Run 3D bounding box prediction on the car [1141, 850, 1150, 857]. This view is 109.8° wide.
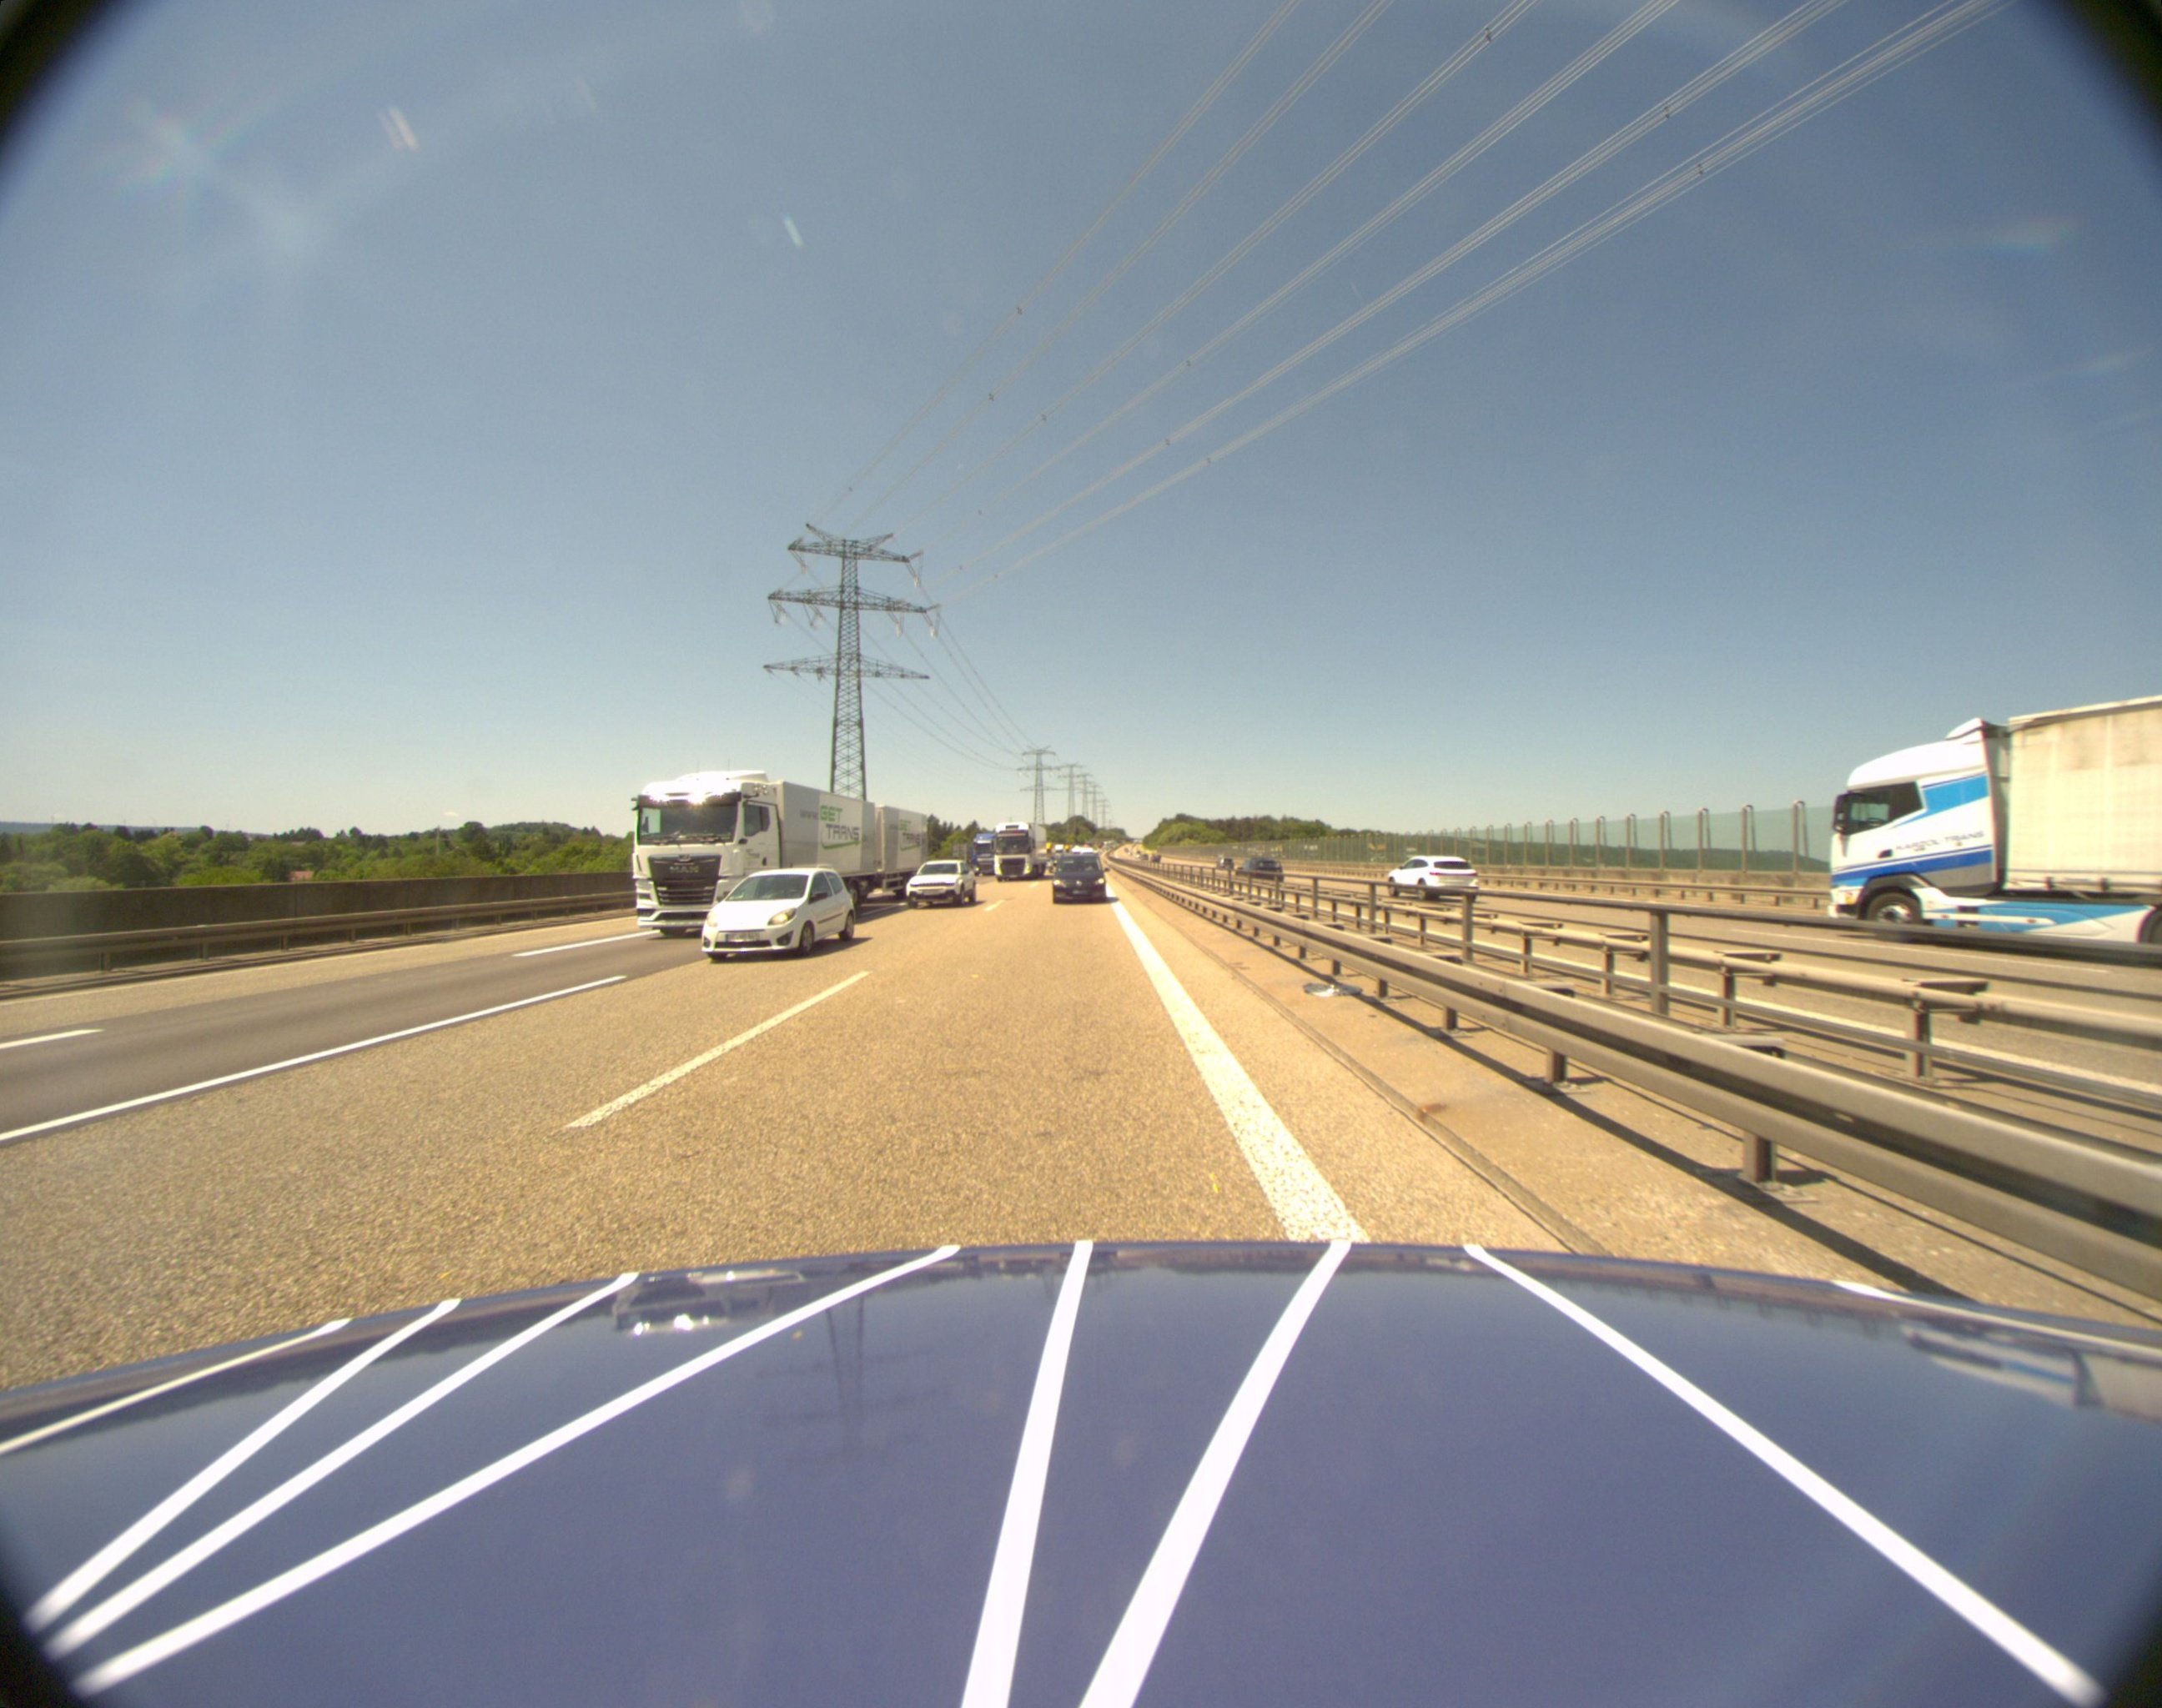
[{"bbox_3d":[15.703,-0.223,186.062,1.786,1.692,4.154,0,1,0],"label":"car"}]

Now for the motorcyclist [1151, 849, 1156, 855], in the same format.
[{"bbox_3d":[21.404,-0.592,223.283,1.379,1.675,1.133,-2,1,-1],"label":"motorcyclist"}]

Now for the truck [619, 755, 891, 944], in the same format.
[{"bbox_3d":[-8.324,-0.111,21.773,2.695,3.907,11.296,-2,0,0],"label":"truck"}]

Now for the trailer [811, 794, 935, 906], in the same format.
[{"bbox_3d":[-8.262,-0.167,31.313,2.752,3.918,7.773,-2,0,0],"label":"trailer"}]

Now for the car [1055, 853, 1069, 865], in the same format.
[{"bbox_3d":[-2.665,0.729,109.679,1.821,1.569,3.999,-2,1,0],"label":"car"}]

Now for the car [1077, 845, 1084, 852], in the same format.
[{"bbox_3d":[-0.171,-1.686,220.784,1.998,2.002,3.999,-2,1,0],"label":"car"}]

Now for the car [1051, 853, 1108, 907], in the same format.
[{"bbox_3d":[-0.001,0.805,25.852,1.748,1.569,4.000,-2,1,1],"label":"car"}]

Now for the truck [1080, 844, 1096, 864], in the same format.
[{"bbox_3d":[1.096,-0.066,114.790,2.309,2.789,5.109,-2,1,1],"label":"truck"}]

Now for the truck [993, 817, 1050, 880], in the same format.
[{"bbox_3d":[-4.192,-0.370,56.852,2.717,4.015,14.256,-2,0,1],"label":"truck"}]

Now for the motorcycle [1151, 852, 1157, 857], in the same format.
[{"bbox_3d":[21.471,0.082,223.337,1.490,1.468,3.382,-2,1,-1],"label":"motorcycle"}]

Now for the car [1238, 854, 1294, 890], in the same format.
[{"bbox_3d":[9.072,0.850,37.519,1.796,1.563,3.999,-2,1,1],"label":"car"}]

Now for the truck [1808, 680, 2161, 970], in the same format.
[{"bbox_3d":[17.236,-0.432,13.483,4.016,4.204,4.858,0,0,0],"label":"truck"}]

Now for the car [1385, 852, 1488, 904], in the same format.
[{"bbox_3d":[12.874,0.804,27.818,1.753,1.686,4.384,0,1,1],"label":"car"}]

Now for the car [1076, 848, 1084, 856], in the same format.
[{"bbox_3d":[-0.146,-0.520,200.341,1.998,2.002,3.999,-2,1,0],"label":"car"}]

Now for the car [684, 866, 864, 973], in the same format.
[{"bbox_3d":[-5.336,1.056,13.770,1.659,1.501,3.825,-2,1,0],"label":"car"}]

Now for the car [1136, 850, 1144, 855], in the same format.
[{"bbox_3d":[16.999,-0.405,218.776,1.735,1.481,4.124,-2,1,0],"label":"car"}]

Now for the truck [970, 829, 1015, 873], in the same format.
[{"bbox_3d":[-8.406,-0.367,73.868,2.841,3.858,11.272,-2,1,0],"label":"truck"}]

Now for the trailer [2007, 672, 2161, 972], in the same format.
[{"bbox_3d":[17.122,-0.451,5.438,3.999,4.210,14.040,0,0,1],"label":"trailer"}]

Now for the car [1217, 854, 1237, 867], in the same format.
[{"bbox_3d":[17.064,0.791,88.711,1.656,1.454,3.541,0,1,1],"label":"car"}]

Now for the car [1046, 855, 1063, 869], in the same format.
[{"bbox_3d":[-3.217,0.960,93.627,1.821,1.569,3.999,-2,1,0],"label":"car"}]

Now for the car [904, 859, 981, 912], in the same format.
[{"bbox_3d":[-4.618,1.021,25.880,1.776,1.521,3.851,-2,1,1],"label":"car"}]

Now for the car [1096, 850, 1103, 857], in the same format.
[{"bbox_3d":[4.960,-0.133,201.228,1.821,1.569,3.999,-2,1,0],"label":"car"}]

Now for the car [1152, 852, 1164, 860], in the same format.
[{"bbox_3d":[15.017,0.378,148.329,1.765,1.312,4.270,1,1,0],"label":"car"}]

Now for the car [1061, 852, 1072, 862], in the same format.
[{"bbox_3d":[-2.437,0.443,130.589,1.821,1.569,3.999,-2,1,0],"label":"car"}]
